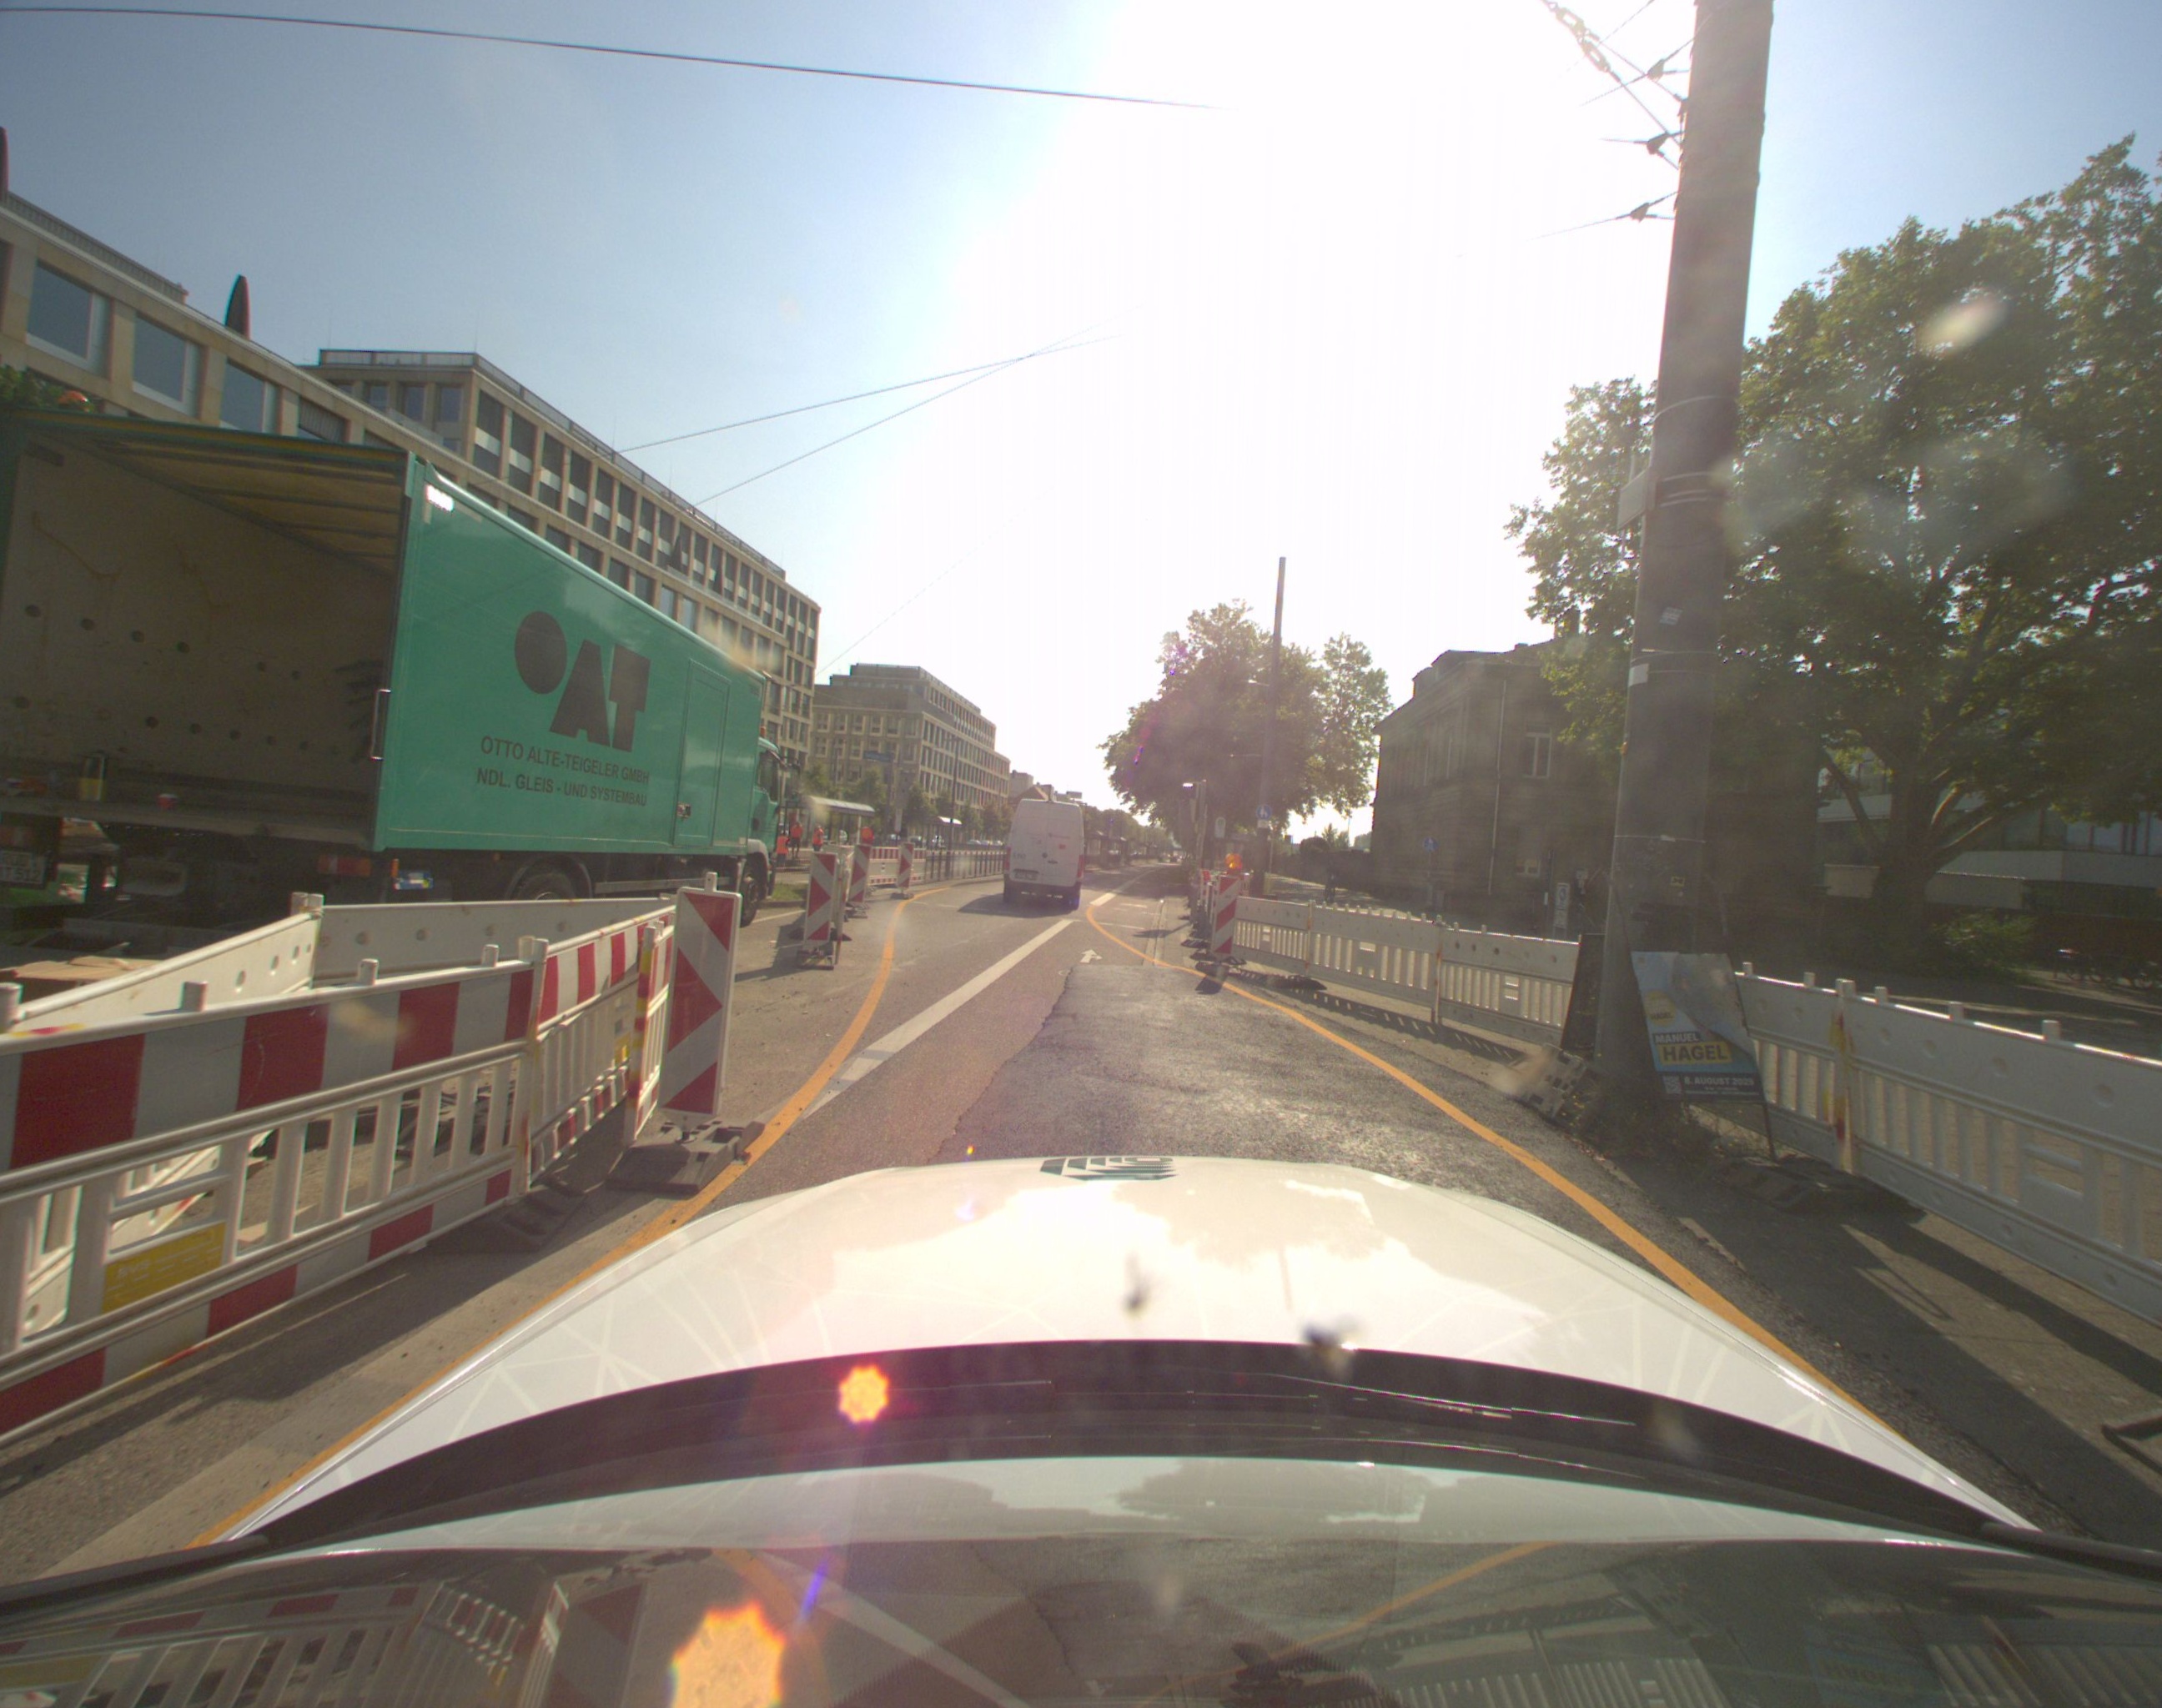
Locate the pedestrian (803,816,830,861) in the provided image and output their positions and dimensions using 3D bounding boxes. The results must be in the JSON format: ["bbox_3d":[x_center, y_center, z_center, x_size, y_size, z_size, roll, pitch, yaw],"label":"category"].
[{"bbox_3d":[-11.790,-0.688,36.274,0.719,1.950,0.790,5,0,9],"label":"pedestrian"}]

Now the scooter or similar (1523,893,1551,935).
[{"bbox_3d":[14.767,1.933,26.396,0.422,1.228,1.177,5,0,14],"label":"scooter or similar"}]

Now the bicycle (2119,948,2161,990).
[{"bbox_3d":[30.987,3.341,23.192,0.489,1.088,1.860,5,1,5],"label":"bicycle"}]

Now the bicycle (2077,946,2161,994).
[{"bbox_3d":[29.975,3.321,23.387,0.489,1.088,1.860,5,1,5],"label":"bicycle"}]

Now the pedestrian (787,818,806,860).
[{"bbox_3d":[-12.578,-0.673,36.034,0.627,1.815,0.636,4,0,-25],"label":"pedestrian"}]

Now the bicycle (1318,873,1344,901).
[{"bbox_3d":[10.970,1.432,35.791,0.489,1.088,1.857,5,1,0],"label":"bicycle"}]

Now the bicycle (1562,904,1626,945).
[{"bbox_3d":[15.976,2.175,25.397,0.491,0.999,1.812,5,3,-11],"label":"bicycle"}]

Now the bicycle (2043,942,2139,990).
[{"bbox_3d":[29.008,3.190,23.432,0.489,1.088,1.860,5,1,5],"label":"bicycle"}]

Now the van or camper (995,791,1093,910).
[{"bbox_3d":[-0.889,-0.107,22.415,2.109,2.681,5.250,6,0,0],"label":"van or camper"}]

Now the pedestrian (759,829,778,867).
[{"bbox_3d":[-13.431,-0.251,35.039,0.641,1.554,0.622,4,0,-19],"label":"pedestrian"}]

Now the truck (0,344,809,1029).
[{"bbox_3d":[-5.801,-1.091,9.225,2.788,3.911,8.406,6,1,-5],"label":"truck"}]

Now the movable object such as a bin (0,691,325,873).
[{"bbox_3d":[-19.286,-1.352,14.065,3.594,2.957,8.493,6,0,8],"label":"movable object such as a bin"}]

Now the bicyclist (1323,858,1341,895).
[{"bbox_3d":[11.010,0.986,35.741,0.467,1.539,0.596,5,0,0],"label":"bicyclist"}]

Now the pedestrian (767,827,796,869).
[{"bbox_3d":[-12.301,-0.230,33.443,0.660,1.663,0.776,5,1,41],"label":"pedestrian"}]
